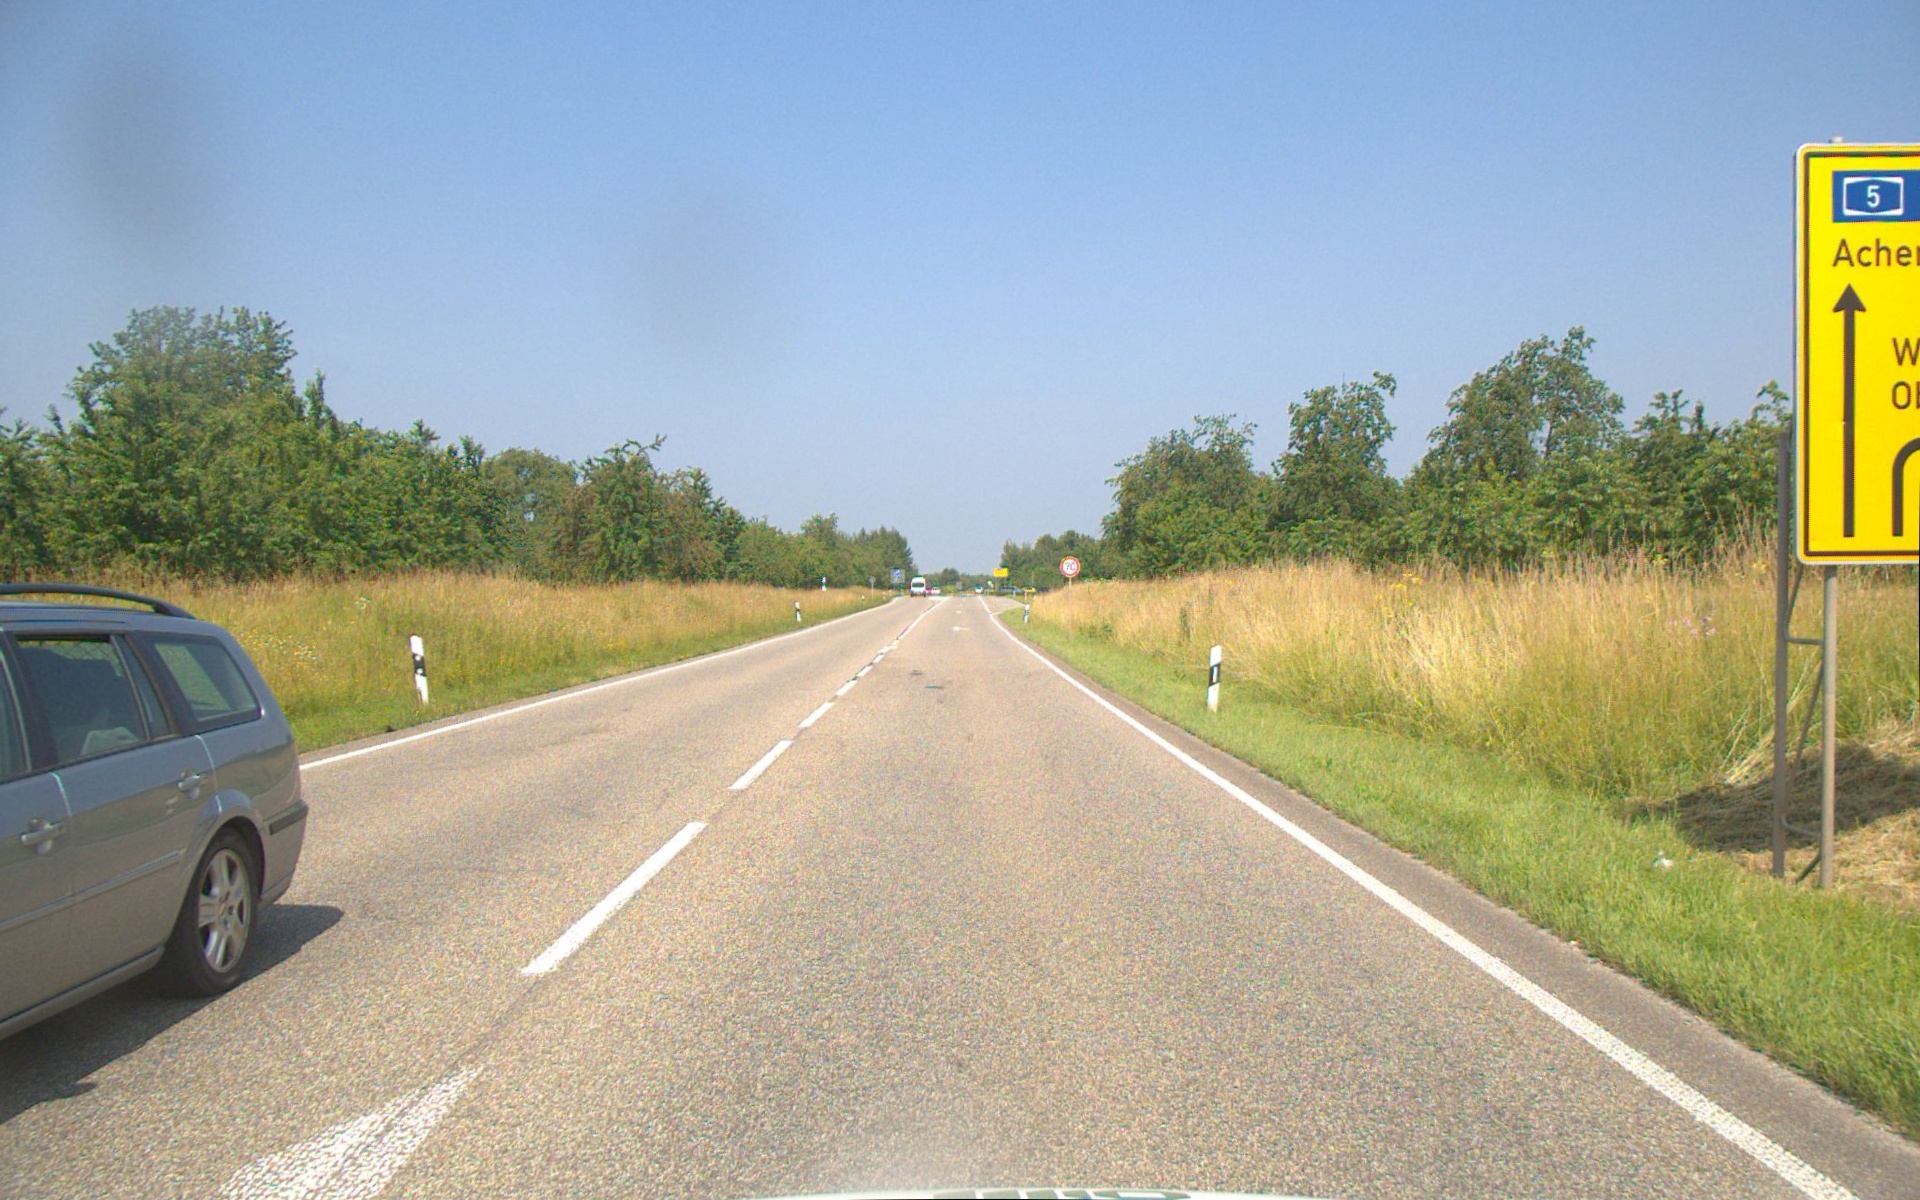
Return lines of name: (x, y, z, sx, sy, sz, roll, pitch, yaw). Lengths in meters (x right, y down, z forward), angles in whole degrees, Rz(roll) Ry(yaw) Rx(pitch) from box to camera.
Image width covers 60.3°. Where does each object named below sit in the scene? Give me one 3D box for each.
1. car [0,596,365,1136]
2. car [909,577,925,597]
car: (-3.407, 0.716, 4.846, 1.656, 1.433, 4.893, 0, 0, -1)
car: (-5.994, -1.851, 229.710, 2.117, 2.715, 6.142, 0, 0, -1)
